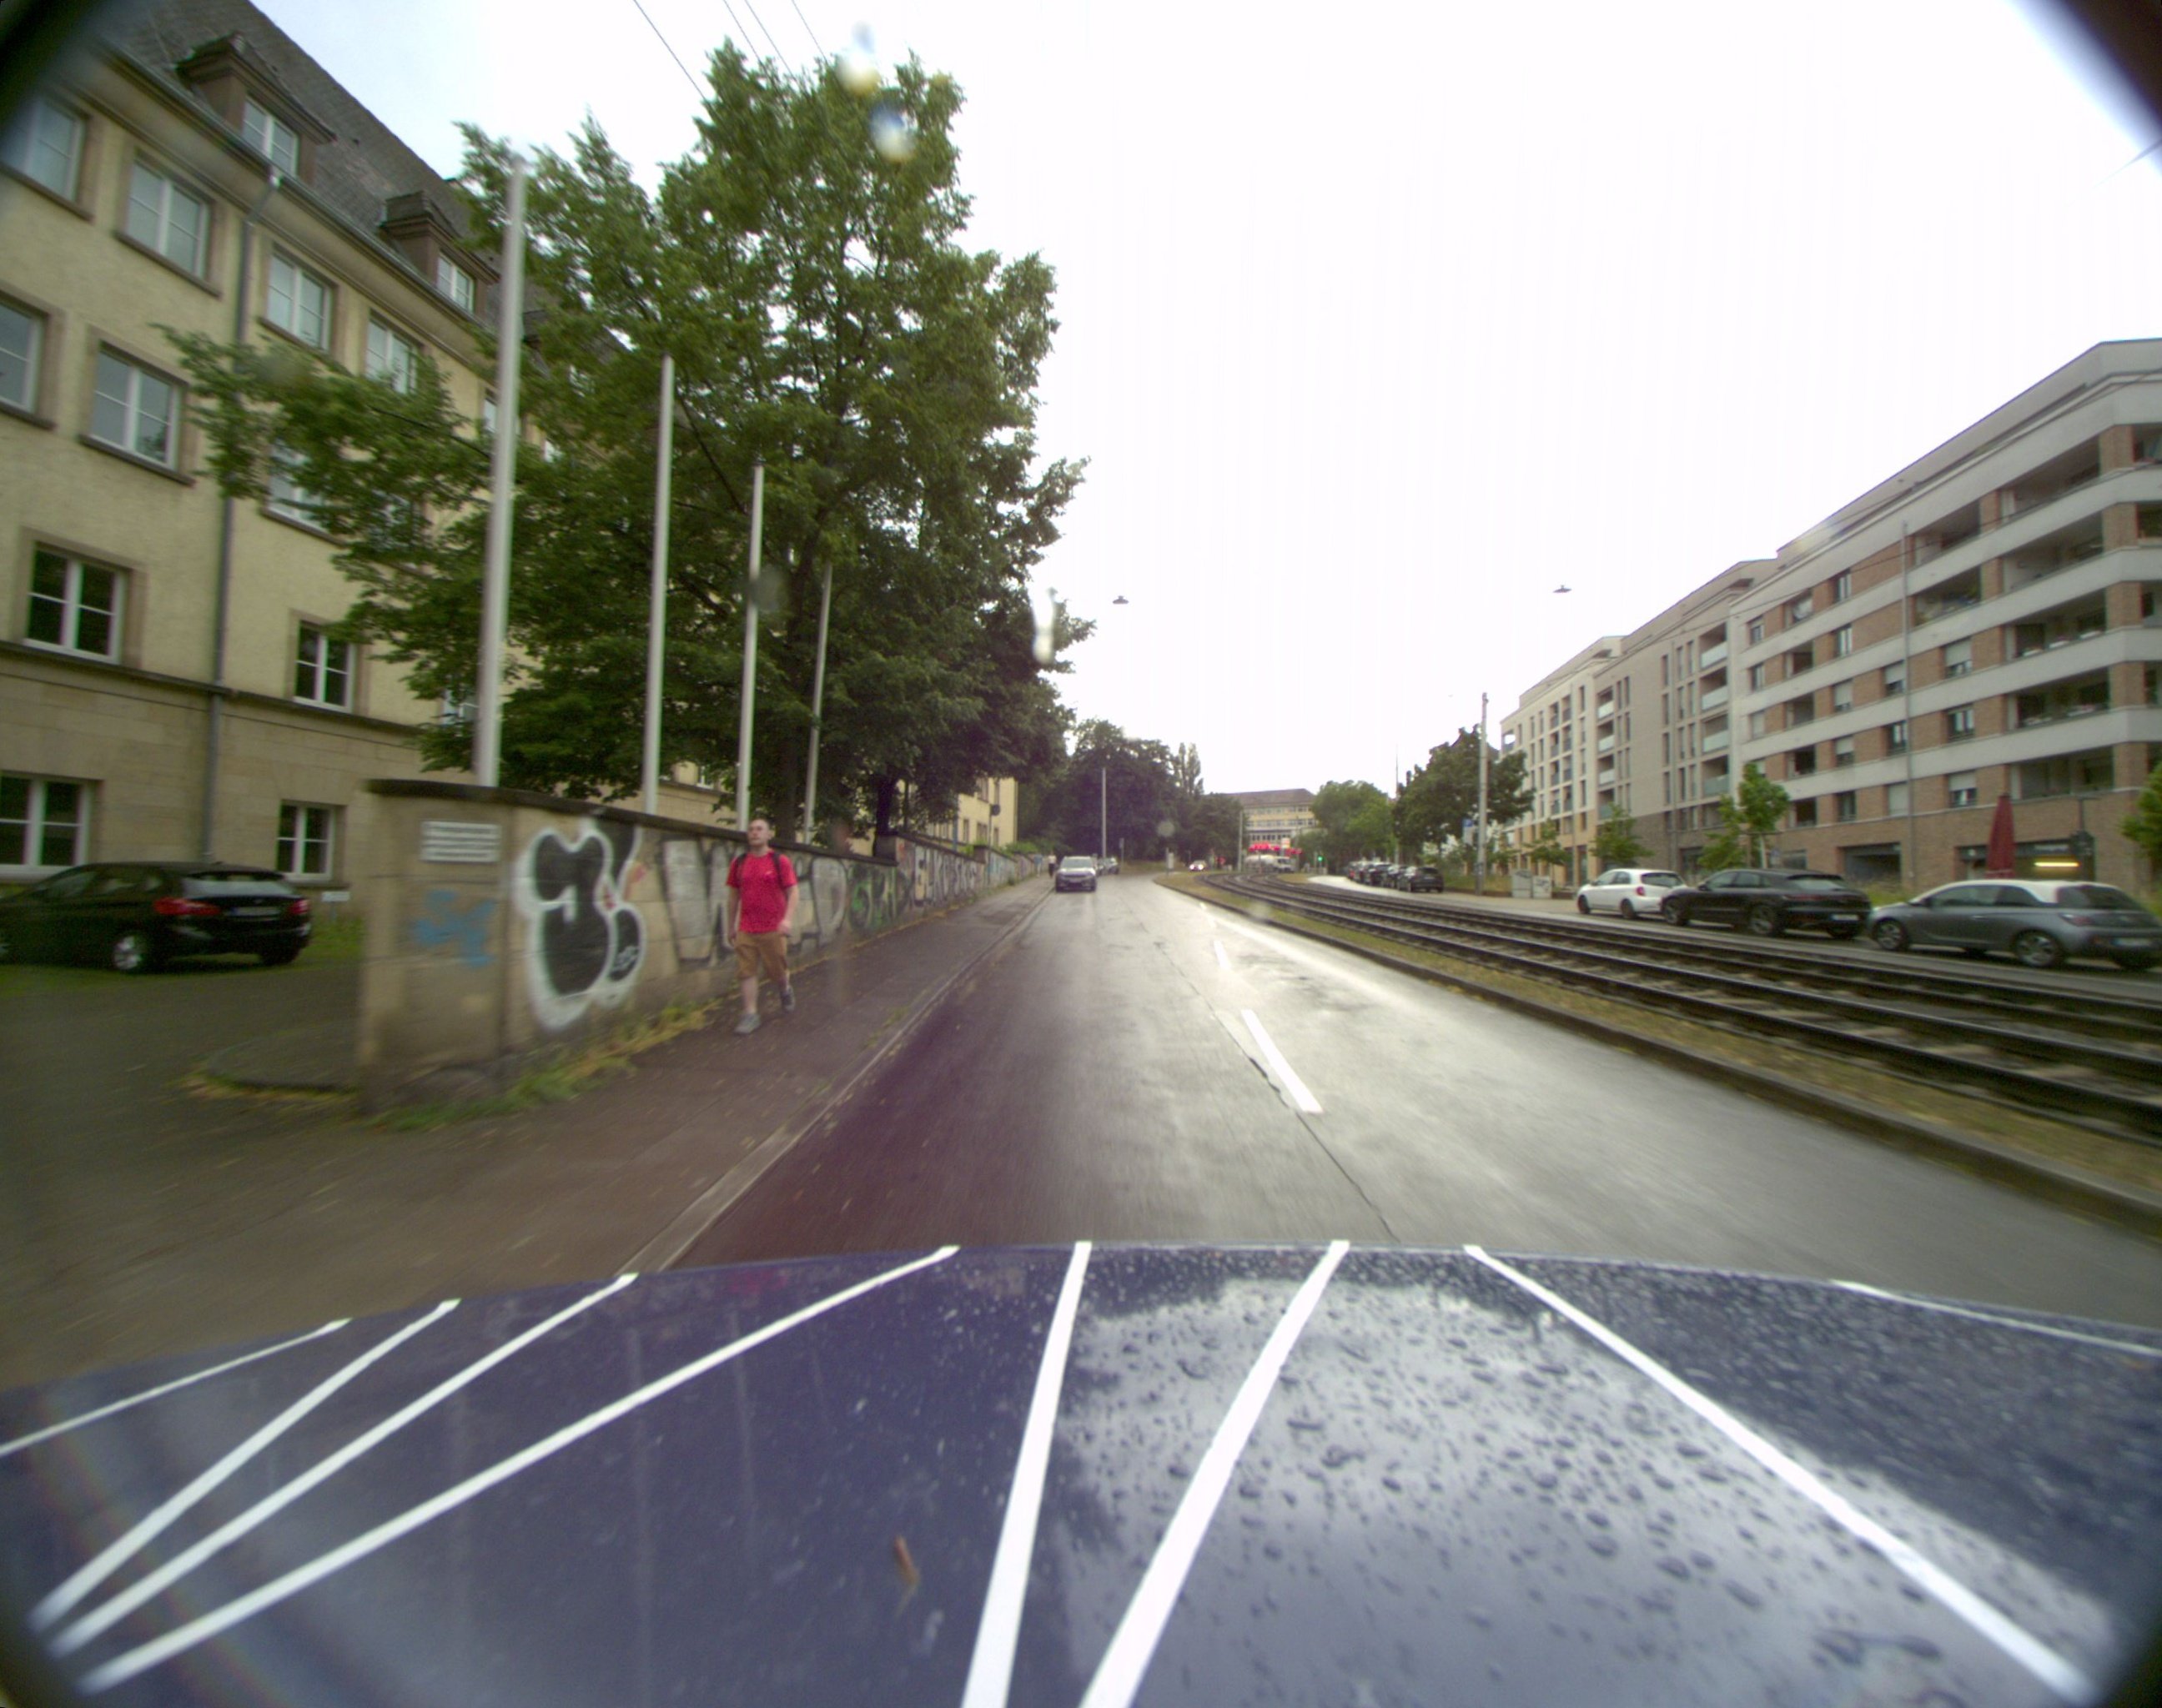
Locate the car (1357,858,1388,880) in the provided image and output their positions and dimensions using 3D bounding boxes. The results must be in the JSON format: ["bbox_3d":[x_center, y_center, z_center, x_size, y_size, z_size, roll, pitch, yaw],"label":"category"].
[{"bbox_3d":[22.633,1.128,59.118,1.734,1.634,4.537,-1,0,15],"label":"car"}]

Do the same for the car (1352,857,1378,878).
[{"bbox_3d":[24.151,1.135,64.685,1.665,1.737,4.262,0,0,15],"label":"car"}]

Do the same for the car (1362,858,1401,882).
[{"bbox_3d":[21.161,1.095,53.706,1.806,1.574,4.703,0,0,12],"label":"car"}]

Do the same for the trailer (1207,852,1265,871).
[{"bbox_3d":[27.409,1.293,134.595,9.814,3.375,2.818,0,0,19],"label":"trailer"}]

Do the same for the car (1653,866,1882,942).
[{"bbox_3d":[16.684,1.131,18.834,1.770,1.552,4.406,1,0,2],"label":"car"}]

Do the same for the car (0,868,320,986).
[{"bbox_3d":[-13.865,1.006,11.231,3.941,1.488,1.631,1,-2,9],"label":"car"}]

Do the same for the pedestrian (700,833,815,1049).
[{"bbox_3d":[-2.708,0.695,6.417,0.634,1.711,0.711,1,1,2],"label":"pedestrian"}]

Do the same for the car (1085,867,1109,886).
[{"bbox_3d":[1.369,1.863,63.623,1.538,1.408,3.647,1,0,9],"label":"car"}]

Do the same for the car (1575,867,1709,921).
[{"bbox_3d":[17.181,1.169,23.518,1.769,1.470,3.737,1,0,8],"label":"car"}]

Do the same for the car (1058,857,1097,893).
[{"bbox_3d":[-0.121,0.926,35.127,1.669,1.515,4.109,-1,0,2],"label":"car"}]

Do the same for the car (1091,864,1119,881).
[{"bbox_3d":[2.156,1.633,67.600,1.599,1.457,2.726,2,0,24],"label":"car"}]

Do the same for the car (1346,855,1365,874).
[{"bbox_3d":[28.394,1.035,78.657,1.583,1.848,4.339,-2,-1,17],"label":"car"}]

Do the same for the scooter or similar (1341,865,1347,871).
[{"bbox_3d":[56.510,2.927,163.234,1.365,1.186,0.399,-3,2,-42],"label":"scooter or similar"}]

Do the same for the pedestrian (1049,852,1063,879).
[{"bbox_3d":[-1.612,0.722,48.680,0.719,1.744,0.740,1,0,13],"label":"pedestrian"}]

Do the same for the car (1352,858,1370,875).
[{"bbox_3d":[25.515,1.141,69.315,1.470,1.522,2.936,0,0,21],"label":"car"}]

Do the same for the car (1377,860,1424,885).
[{"bbox_3d":[20.539,1.146,48.938,1.740,1.480,4.260,-1,0,8],"label":"car"}]

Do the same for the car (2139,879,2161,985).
[{"bbox_3d":[16.231,1.110,8.902,1.723,1.504,4.319,0,0,2],"label":"car"}]

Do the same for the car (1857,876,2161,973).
[{"bbox_3d":[16.561,1.165,13.749,1.552,1.427,3.451,1,0,2],"label":"car"}]

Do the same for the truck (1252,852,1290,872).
[{"bbox_3d":[33.226,1.328,132.687,6.111,3.379,2.842,1,0,19],"label":"truck"}]

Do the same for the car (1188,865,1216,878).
[{"bbox_3d":[15.421,2.222,96.786,1.885,1.482,3.858,1,0,38],"label":"car"}]

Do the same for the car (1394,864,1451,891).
[{"bbox_3d":[19.234,1.283,42.977,1.969,1.422,4.203,-1,0,10],"label":"car"}]

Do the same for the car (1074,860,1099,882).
[{"bbox_3d":[0.356,1.159,52.997,1.670,1.468,4.066,-1,0,0],"label":"car"}]

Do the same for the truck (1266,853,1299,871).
[{"bbox_3d":[42.524,1.671,160.134,2.655,3.548,10.278,0,0,39],"label":"truck"}]

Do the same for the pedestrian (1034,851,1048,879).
[{"bbox_3d":[-2.585,0.708,48.843,0.719,1.744,0.740,1,0,13],"label":"pedestrian"}]
